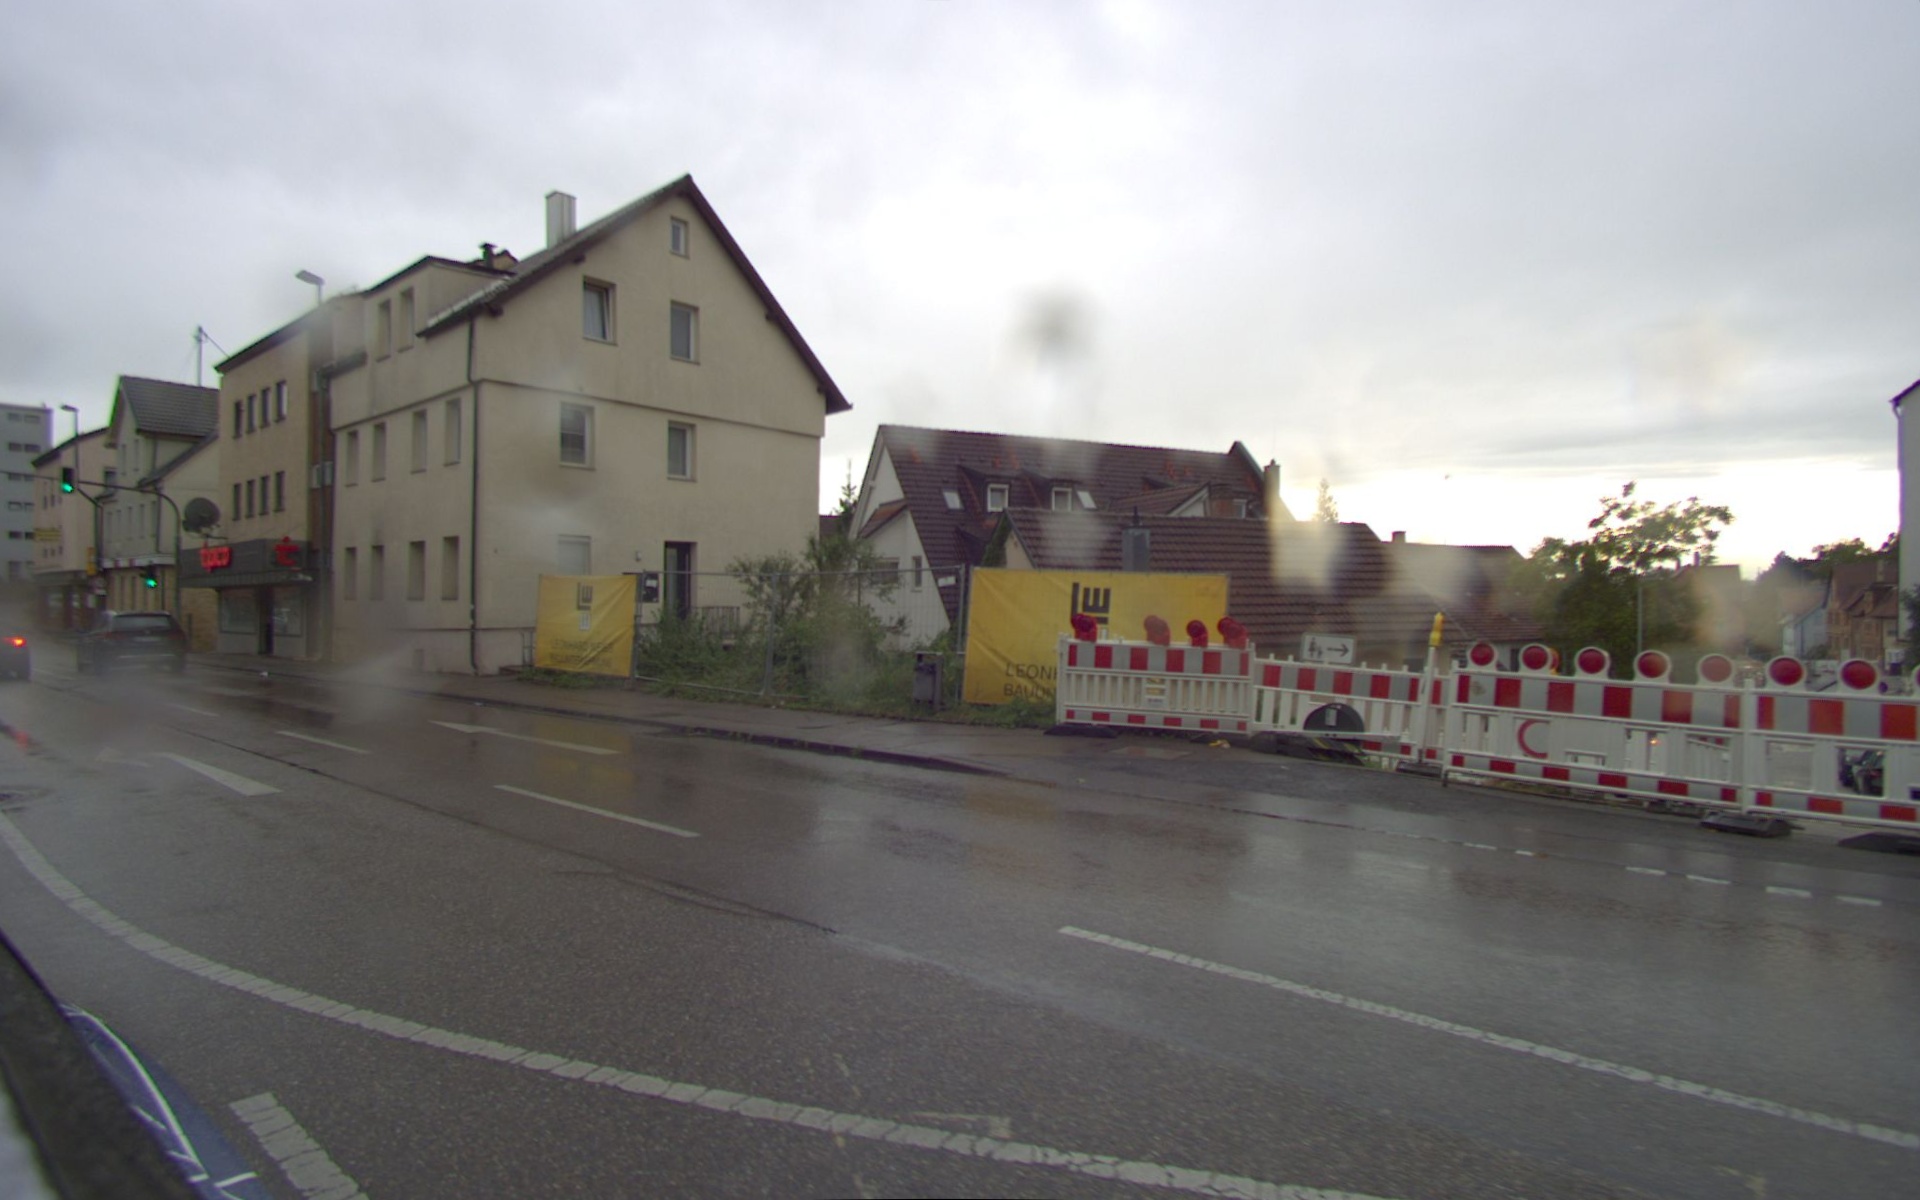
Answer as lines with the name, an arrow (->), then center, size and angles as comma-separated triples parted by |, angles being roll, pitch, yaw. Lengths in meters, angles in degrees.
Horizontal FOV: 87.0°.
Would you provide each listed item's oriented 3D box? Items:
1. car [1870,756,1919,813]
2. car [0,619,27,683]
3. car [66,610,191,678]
car -> 23.749, 4.538, 24.878 | 1.496, 1.321, 3.418 | -3, -10, 34
car -> -22.439, 1.133, 22.782 | 3.667, 1.394, 1.690 | -1, -1, 40
car -> -20.979, 1.059, 25.477 | 4.274, 1.583, 1.796 | -1, -2, 42
